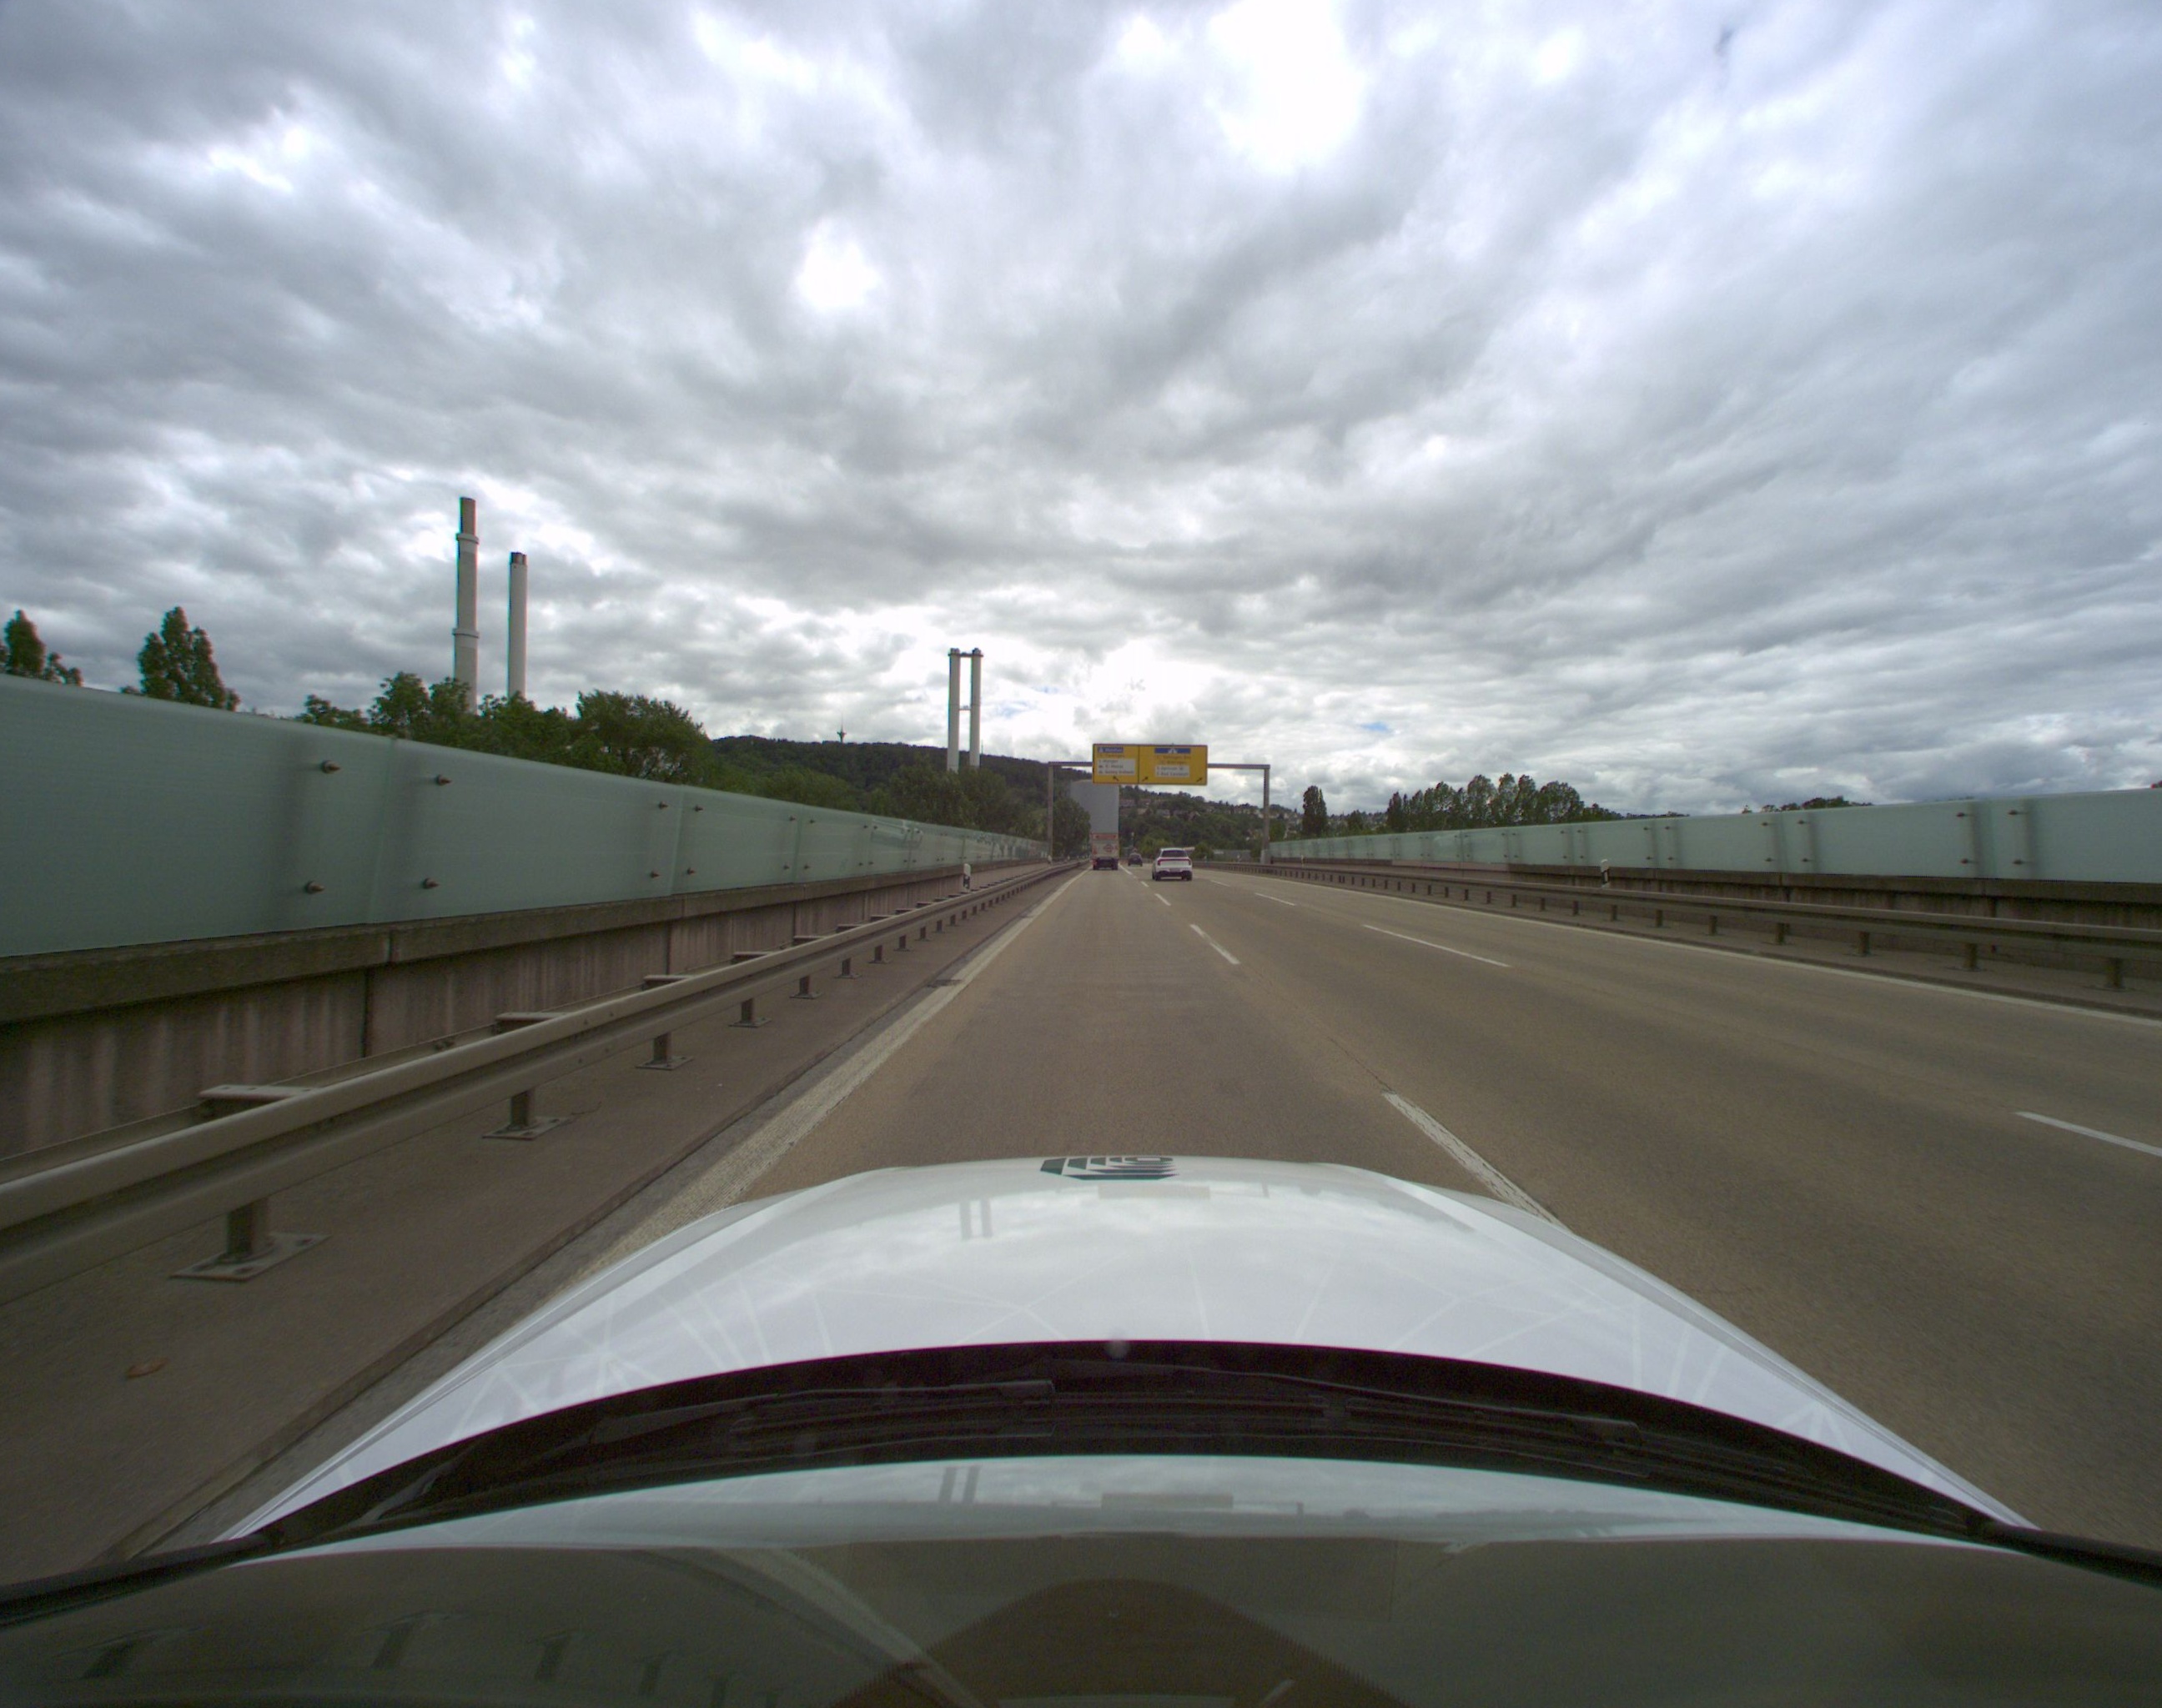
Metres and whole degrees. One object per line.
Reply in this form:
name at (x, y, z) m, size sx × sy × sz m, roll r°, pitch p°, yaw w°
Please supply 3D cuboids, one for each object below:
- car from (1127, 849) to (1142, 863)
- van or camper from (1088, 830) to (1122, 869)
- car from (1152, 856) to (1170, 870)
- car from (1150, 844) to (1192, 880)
car at (6.991, 0.286, 106.776) m, size 1.916 × 1.785 × 4.115 m, roll 0°, pitch 0°, yaw 2°
van or camper at (2.460, -0.380, 79.880) m, size 3.109 × 3.579 × 8.556 m, roll -1°, pitch 0°, yaw 3°
car at (10.658, 1.180, 108.544) m, size 1.917 × 1.785 × 4.113 m, roll 0°, pitch 0°, yaw 0°
car at (4.635, 0.390, 42.589) m, size 1.916 × 1.785 × 4.116 m, roll 0°, pitch 0°, yaw 3°
